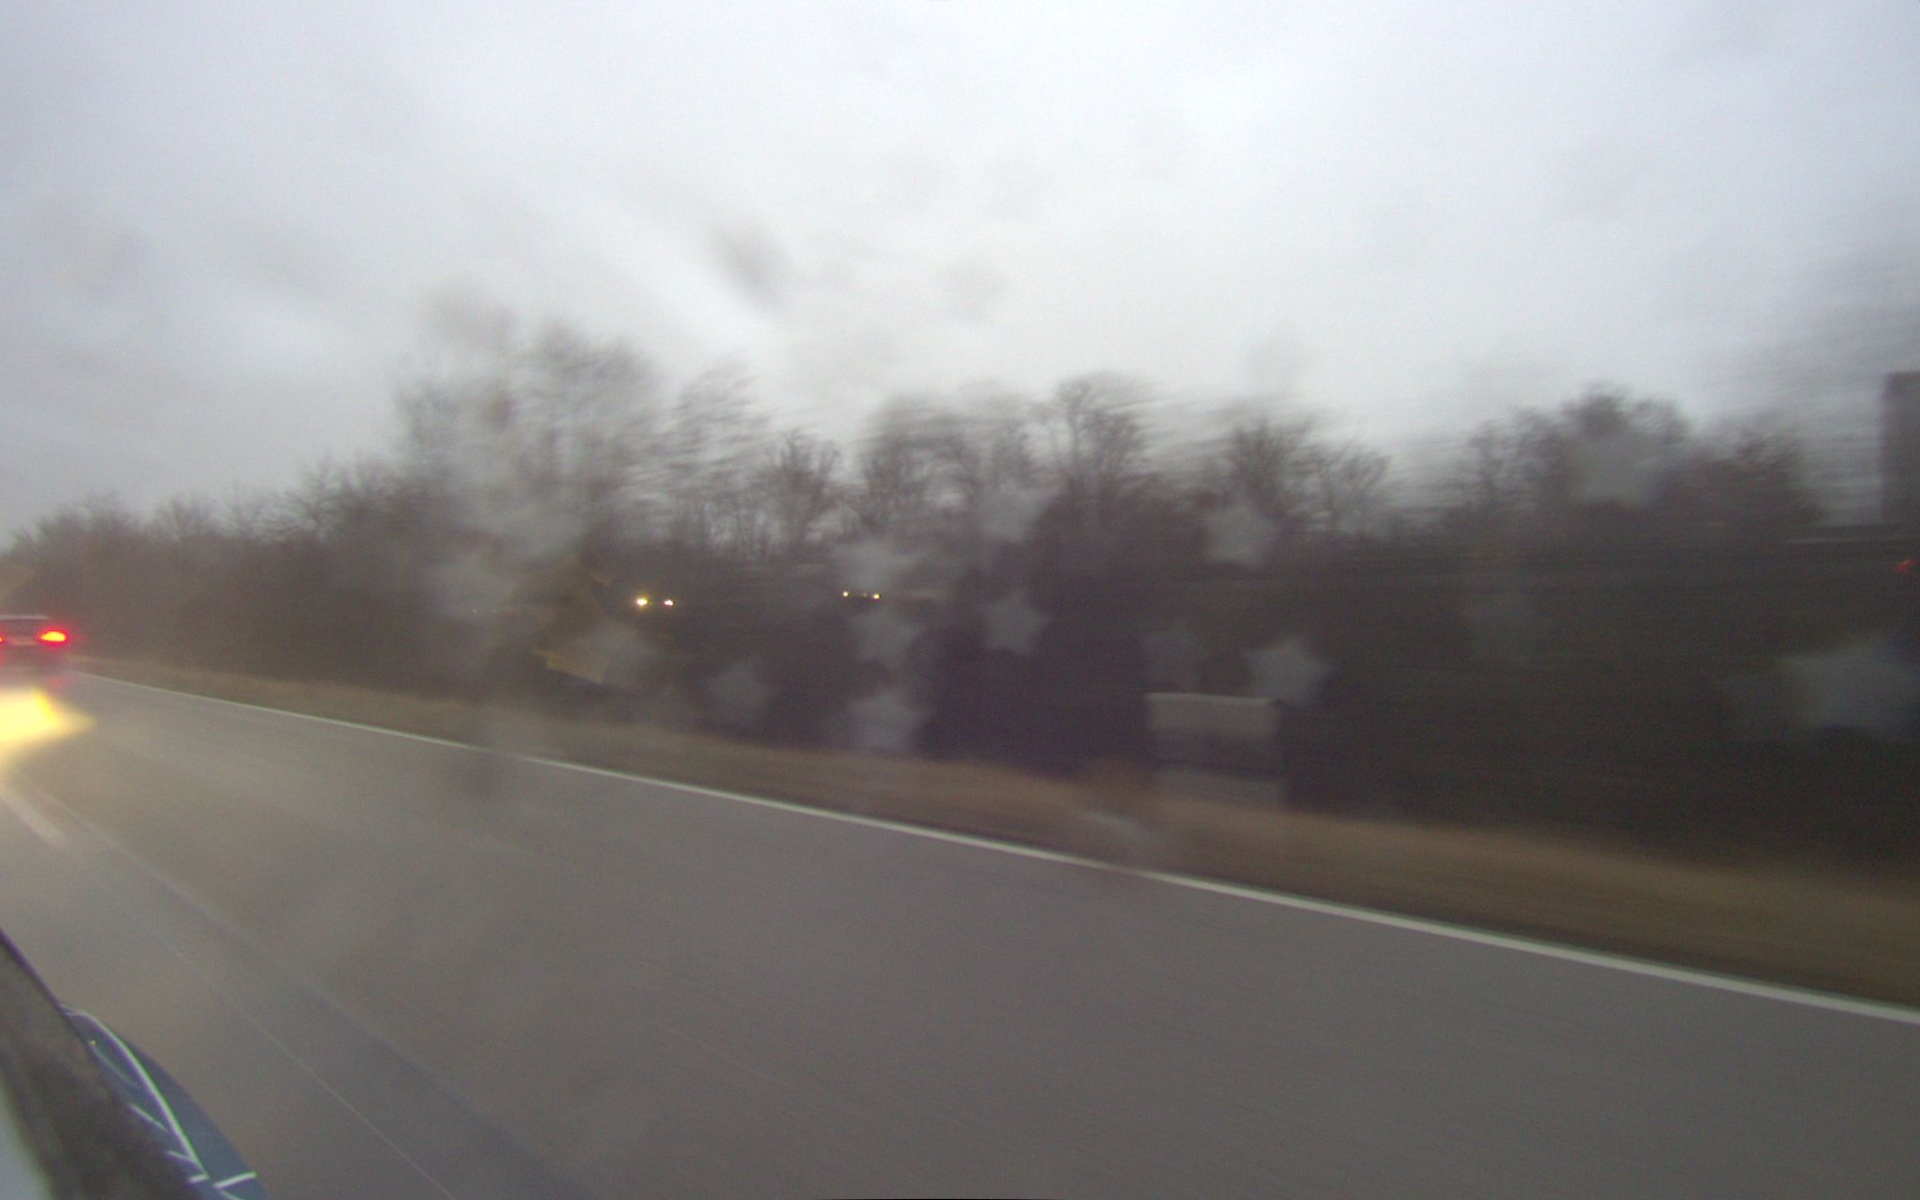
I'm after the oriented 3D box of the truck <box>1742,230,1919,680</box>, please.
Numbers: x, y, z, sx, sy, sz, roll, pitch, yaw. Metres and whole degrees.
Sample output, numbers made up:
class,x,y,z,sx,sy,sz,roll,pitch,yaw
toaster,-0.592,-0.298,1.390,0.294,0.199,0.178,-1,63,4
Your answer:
class,x,y,z,sx,sy,sz,roll,pitch,yaw
truck,32.291,-2.701,8.664,40.129,7.771,7.465,-1,-1,41

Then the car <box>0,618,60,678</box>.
class,x,y,z,sx,sy,sz,roll,pitch,yaw
car,-27.434,1.358,29.220,4.210,1.626,1.717,-1,-1,42
